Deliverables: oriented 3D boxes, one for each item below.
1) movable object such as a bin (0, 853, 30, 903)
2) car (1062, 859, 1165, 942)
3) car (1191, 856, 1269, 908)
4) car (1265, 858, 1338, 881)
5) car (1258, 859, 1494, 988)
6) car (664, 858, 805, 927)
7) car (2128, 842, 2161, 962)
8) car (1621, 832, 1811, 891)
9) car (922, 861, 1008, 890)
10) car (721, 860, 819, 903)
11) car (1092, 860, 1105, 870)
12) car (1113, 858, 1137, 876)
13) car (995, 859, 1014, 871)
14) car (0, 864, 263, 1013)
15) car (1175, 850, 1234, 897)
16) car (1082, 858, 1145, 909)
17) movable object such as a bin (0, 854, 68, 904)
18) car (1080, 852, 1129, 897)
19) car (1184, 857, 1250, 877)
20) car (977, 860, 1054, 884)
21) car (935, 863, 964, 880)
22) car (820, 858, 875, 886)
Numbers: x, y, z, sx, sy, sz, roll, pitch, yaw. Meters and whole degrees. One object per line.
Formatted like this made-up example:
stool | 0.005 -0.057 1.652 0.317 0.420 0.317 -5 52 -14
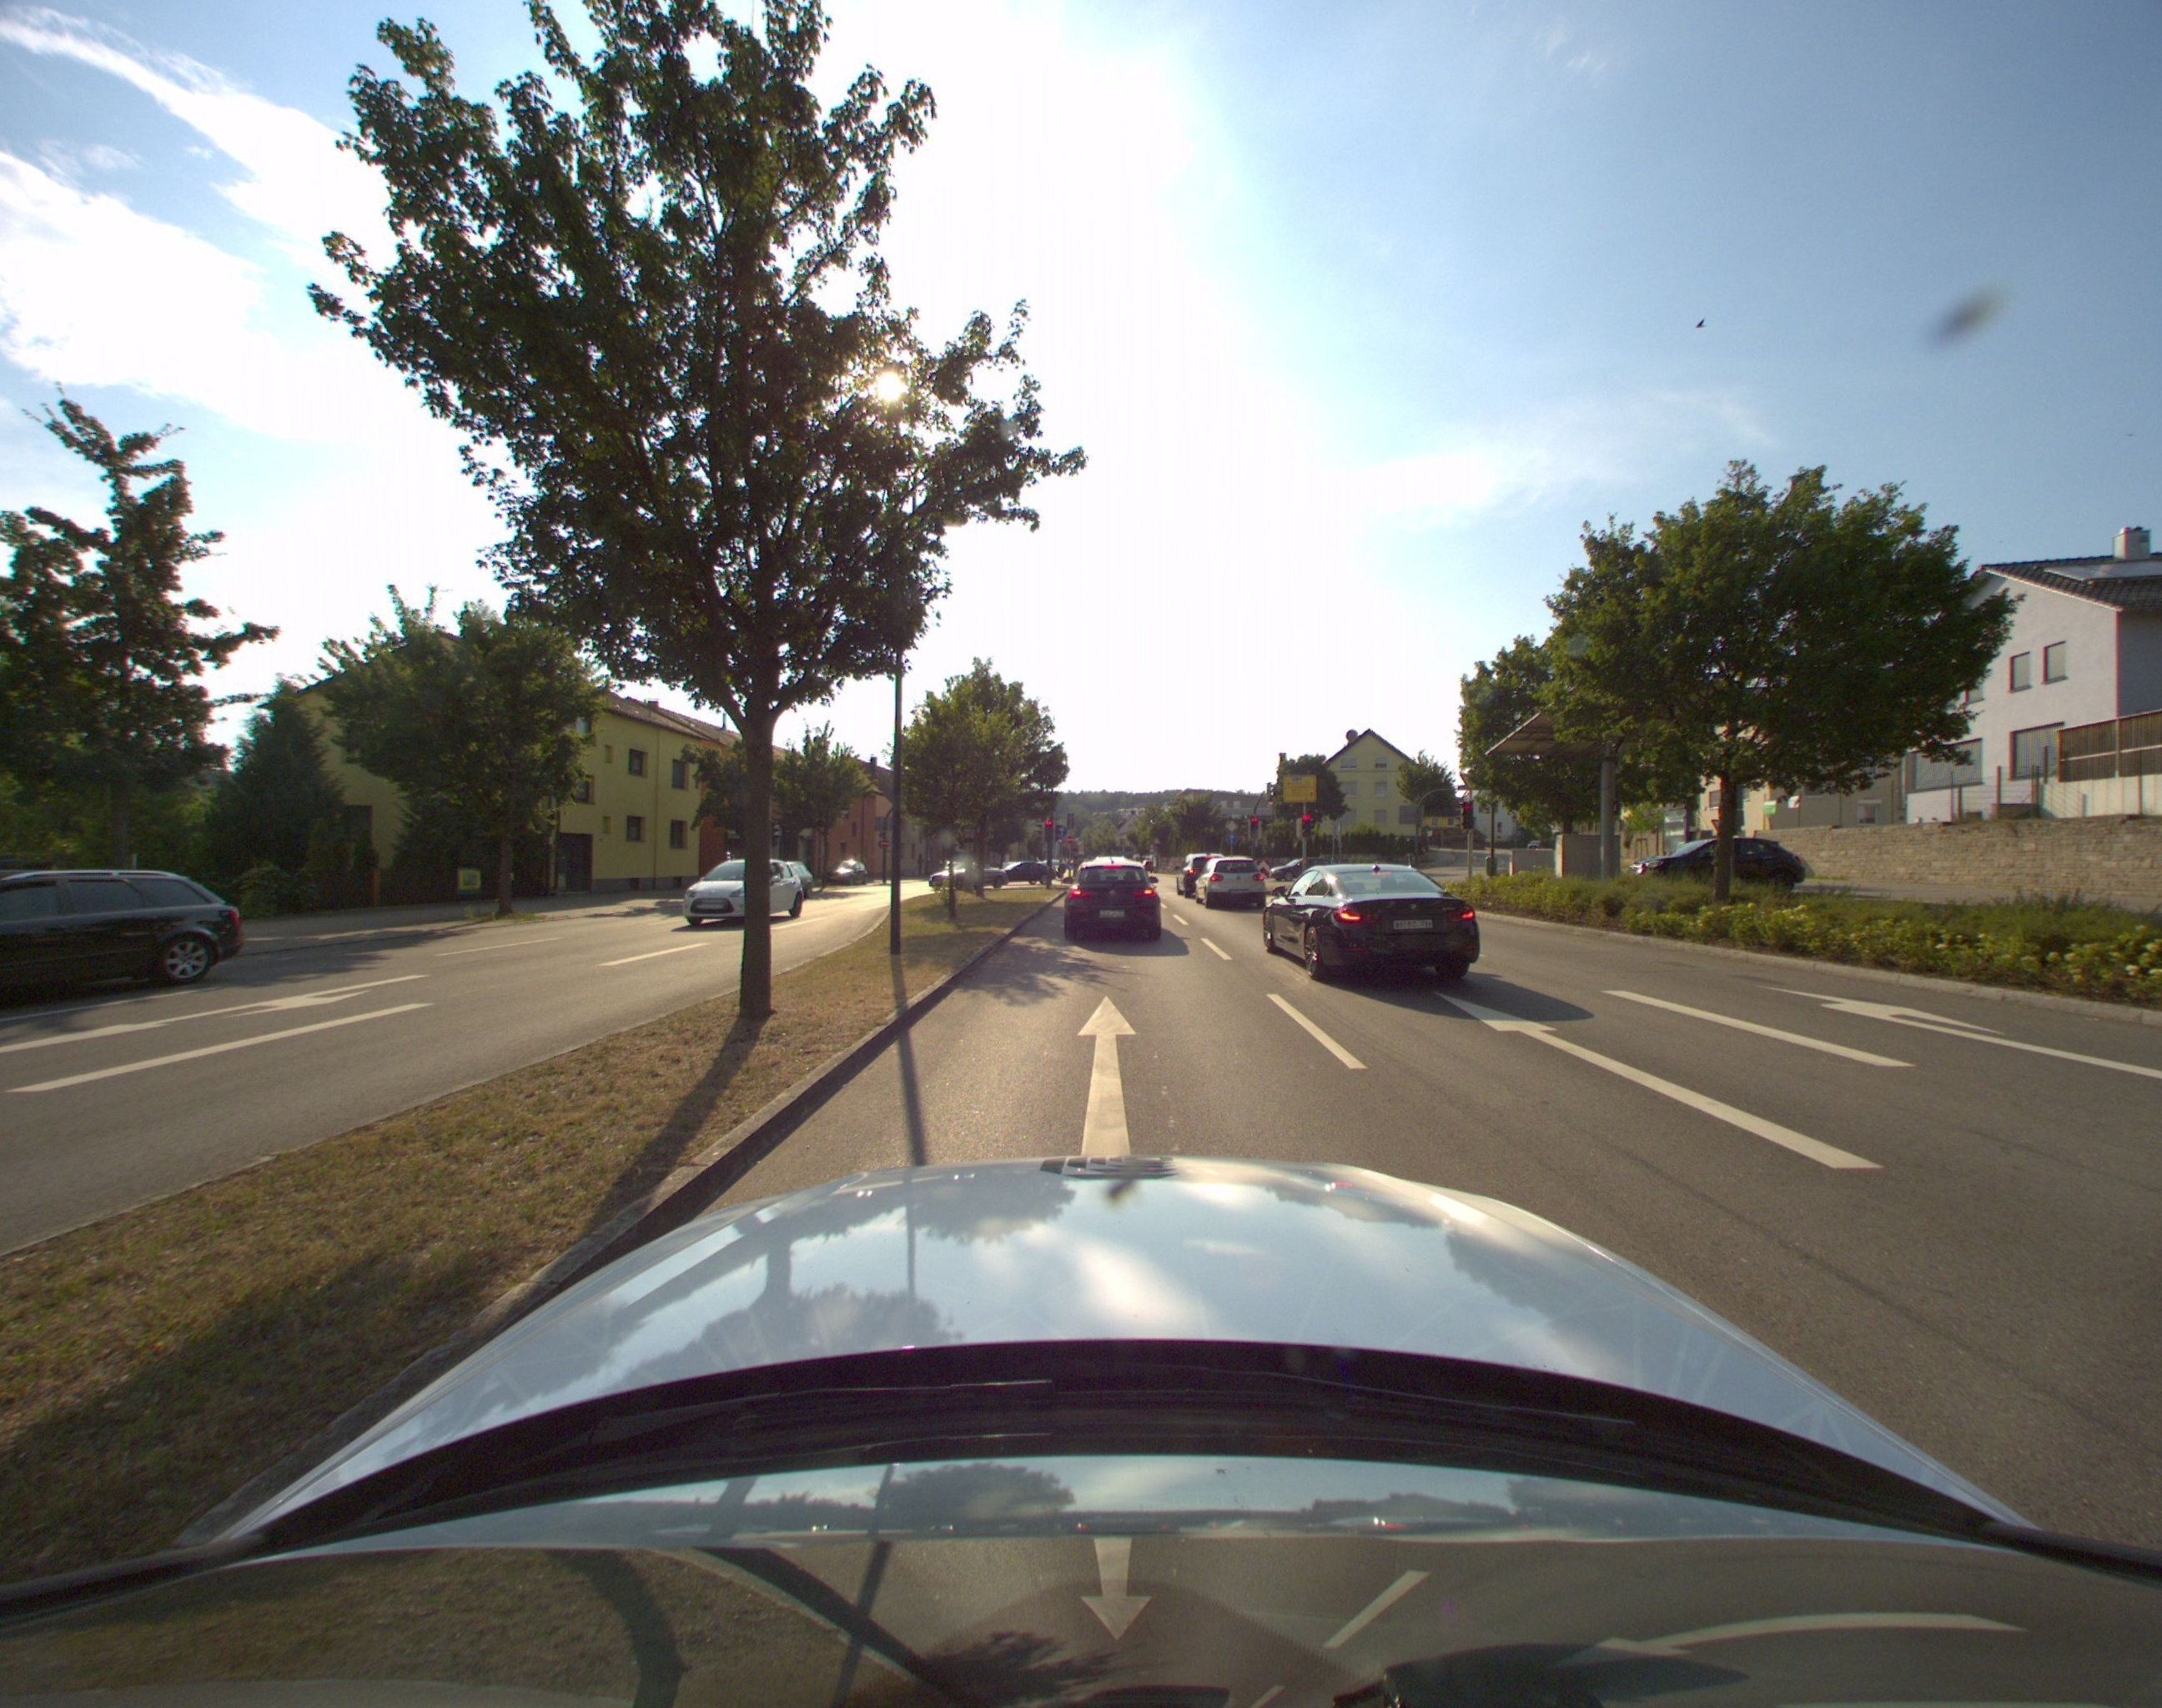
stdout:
movable object such as a bin | -24.604 0.541 18.397 0.728 1.086 0.721 3 0 1
car | 0.674 0.823 16.275 1.783 1.414 4.350 0 0 3
car | 4.457 0.790 24.945 1.808 1.446 4.350 0 0 3
car | 13.875 0.974 51.308 4.173 1.386 1.646 0 0 -8
car | 3.666 0.773 11.004 1.808 1.389 4.350 0 0 3
car | -8.268 0.858 19.827 1.796 1.497 3.953 0 0 -1
car | 13.322 0.494 7.734 3.963 1.272 1.858 0 0 9
car | 18.348 0.224 23.748 3.959 1.608 1.861 0 0 14
car | -5.922 1.069 41.990 1.763 1.349 4.507 -1 0 36
car | -11.352 0.960 30.098 1.680 1.462 4.713 0 0 2
car | 2.773 1.696 126.903 1.917 1.596 4.001 0 0 1
car | 4.451 1.326 82.968 1.887 1.702 4.517 -1 -1 -4
car | -10.152 1.423 108.632 1.916 1.596 4.003 0 0 3
car | -11.851 0.868 8.720 1.800 1.497 4.247 0 0 2
car | 4.675 0.722 31.267 1.808 1.666 4.350 0 0 3
car | 1.037 0.872 25.630 1.808 1.451 4.245 0 0 3
movable object such as a bin | -23.714 0.557 18.396 0.728 1.086 0.696 3 0 1
car | 0.986 0.780 32.454 1.808 1.641 4.245 0 0 3
car | 10.354 0.957 62.177 4.599 1.485 1.879 0 -1 38
car | -4.100 1.098 51.417 4.666 1.422 1.828 0 -1 -38
car | -12.659 1.656 78.468 1.916 1.596 4.003 0 0 3
car | -13.918 1.061 48.769 1.835 1.552 4.004 2 0 4
